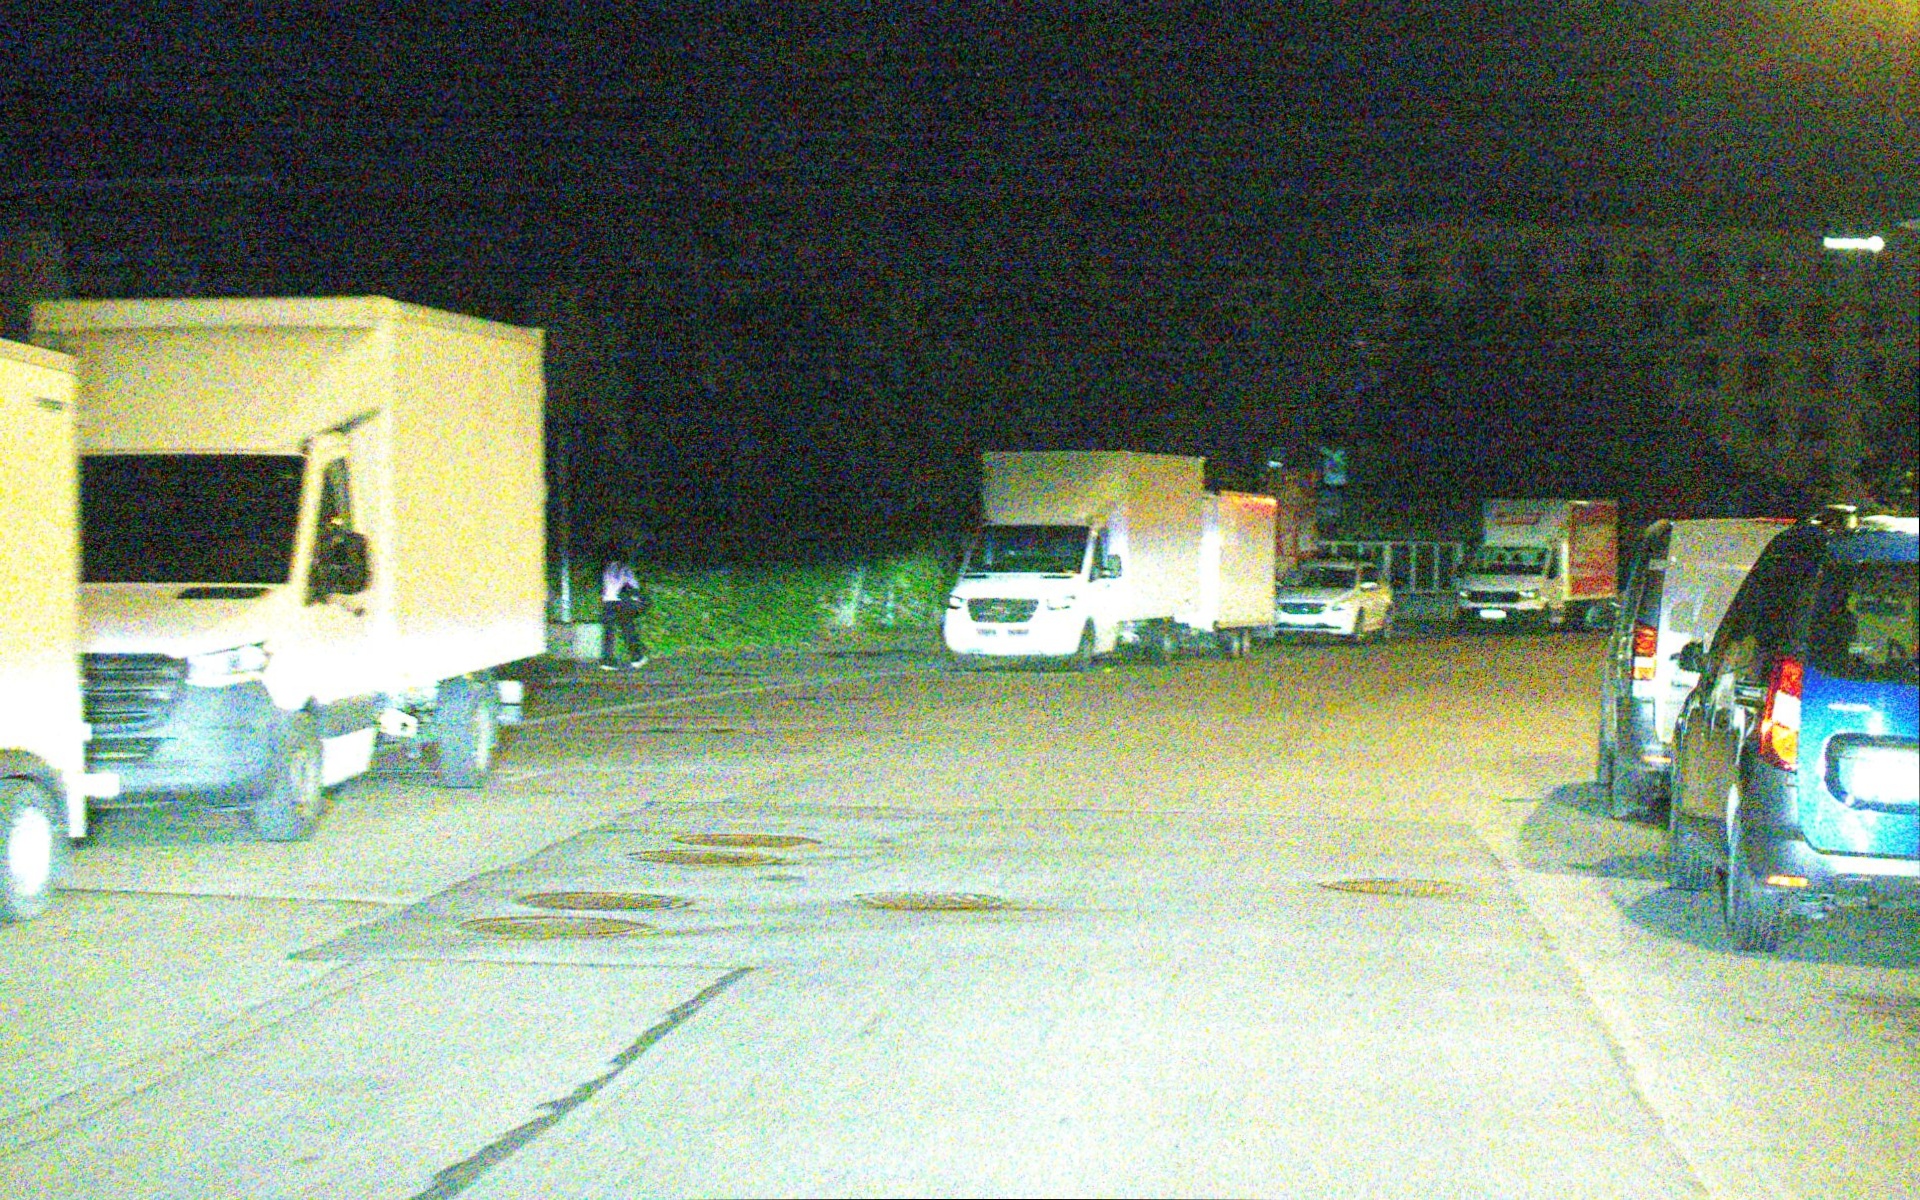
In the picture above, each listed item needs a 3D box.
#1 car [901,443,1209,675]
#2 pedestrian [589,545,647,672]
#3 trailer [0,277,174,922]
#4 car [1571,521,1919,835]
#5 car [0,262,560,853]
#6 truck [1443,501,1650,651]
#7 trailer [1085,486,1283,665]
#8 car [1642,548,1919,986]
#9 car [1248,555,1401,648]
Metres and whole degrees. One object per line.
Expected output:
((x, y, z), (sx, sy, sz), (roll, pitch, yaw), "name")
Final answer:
((1.528, -0.619, 50.579), (2.521, 3.160, 7.131), (0, 1, 19), "car")
((-4.525, 0.111, 45.464), (0.675, 1.647, 0.654), (0, 2, -13), "pedestrian")
((-4.719, -0.003, 13.847), (1.994, 2.519, 3.567), (0, 1, 5), "trailer")
((5.084, 0.459, 22.615), (1.721, 1.815, 3.999), (2, 0, 6), "car")
((-4.356, -0.257, 20.666), (2.519, 2.917, 7.200), (0, 1, 4), "car")
((14.378, -0.628, 83.643), (1.997, 3.392, 8.965), (3, 2, 29), "truck")
((3.750, -0.447, 56.786), (1.995, 2.803, 4.698), (1, 2, 20), "trailer")
((4.103, 0.652, 15.117), (1.721, 1.655, 3.999), (2, 0, 6), "car")
((7.211, 0.035, 67.663), (1.996, 1.694, 4.202), (2, 0, 20), "car")
